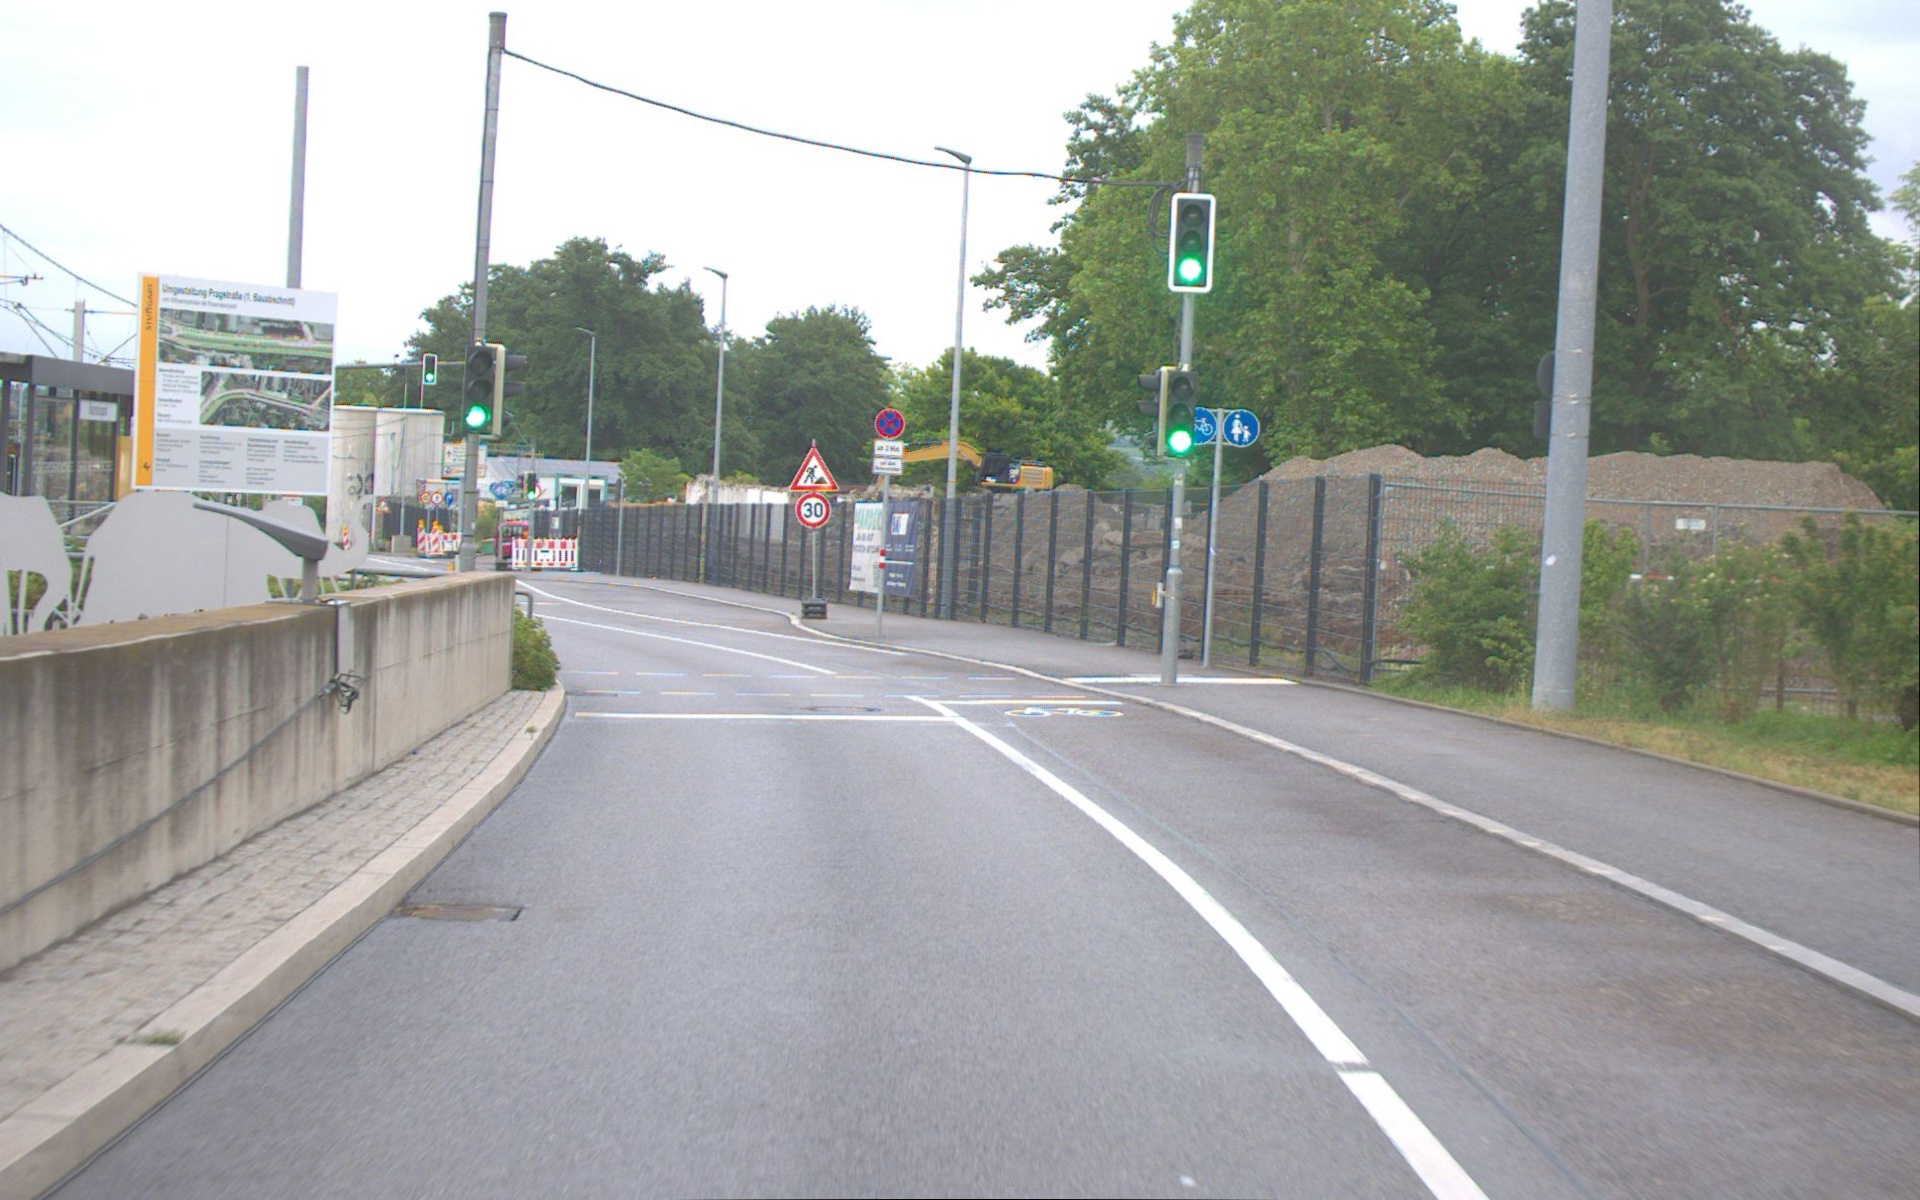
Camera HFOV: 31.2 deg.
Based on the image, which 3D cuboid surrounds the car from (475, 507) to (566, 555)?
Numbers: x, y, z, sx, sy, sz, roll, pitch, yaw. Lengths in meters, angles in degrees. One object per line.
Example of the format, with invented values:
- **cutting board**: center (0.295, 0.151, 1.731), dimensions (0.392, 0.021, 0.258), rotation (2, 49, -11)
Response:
- **car**: center (-17.383, -2.716, 136.050), dimensions (1.821, 1.787, 4.405), rotation (2, 1, 18)

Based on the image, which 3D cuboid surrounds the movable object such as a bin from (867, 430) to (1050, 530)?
- **movable object such as a bin**: center (-0.117, -7.582, 218.286), dimensions (11.229, 5.975, 3.492), rotation (1, 0, -5)
